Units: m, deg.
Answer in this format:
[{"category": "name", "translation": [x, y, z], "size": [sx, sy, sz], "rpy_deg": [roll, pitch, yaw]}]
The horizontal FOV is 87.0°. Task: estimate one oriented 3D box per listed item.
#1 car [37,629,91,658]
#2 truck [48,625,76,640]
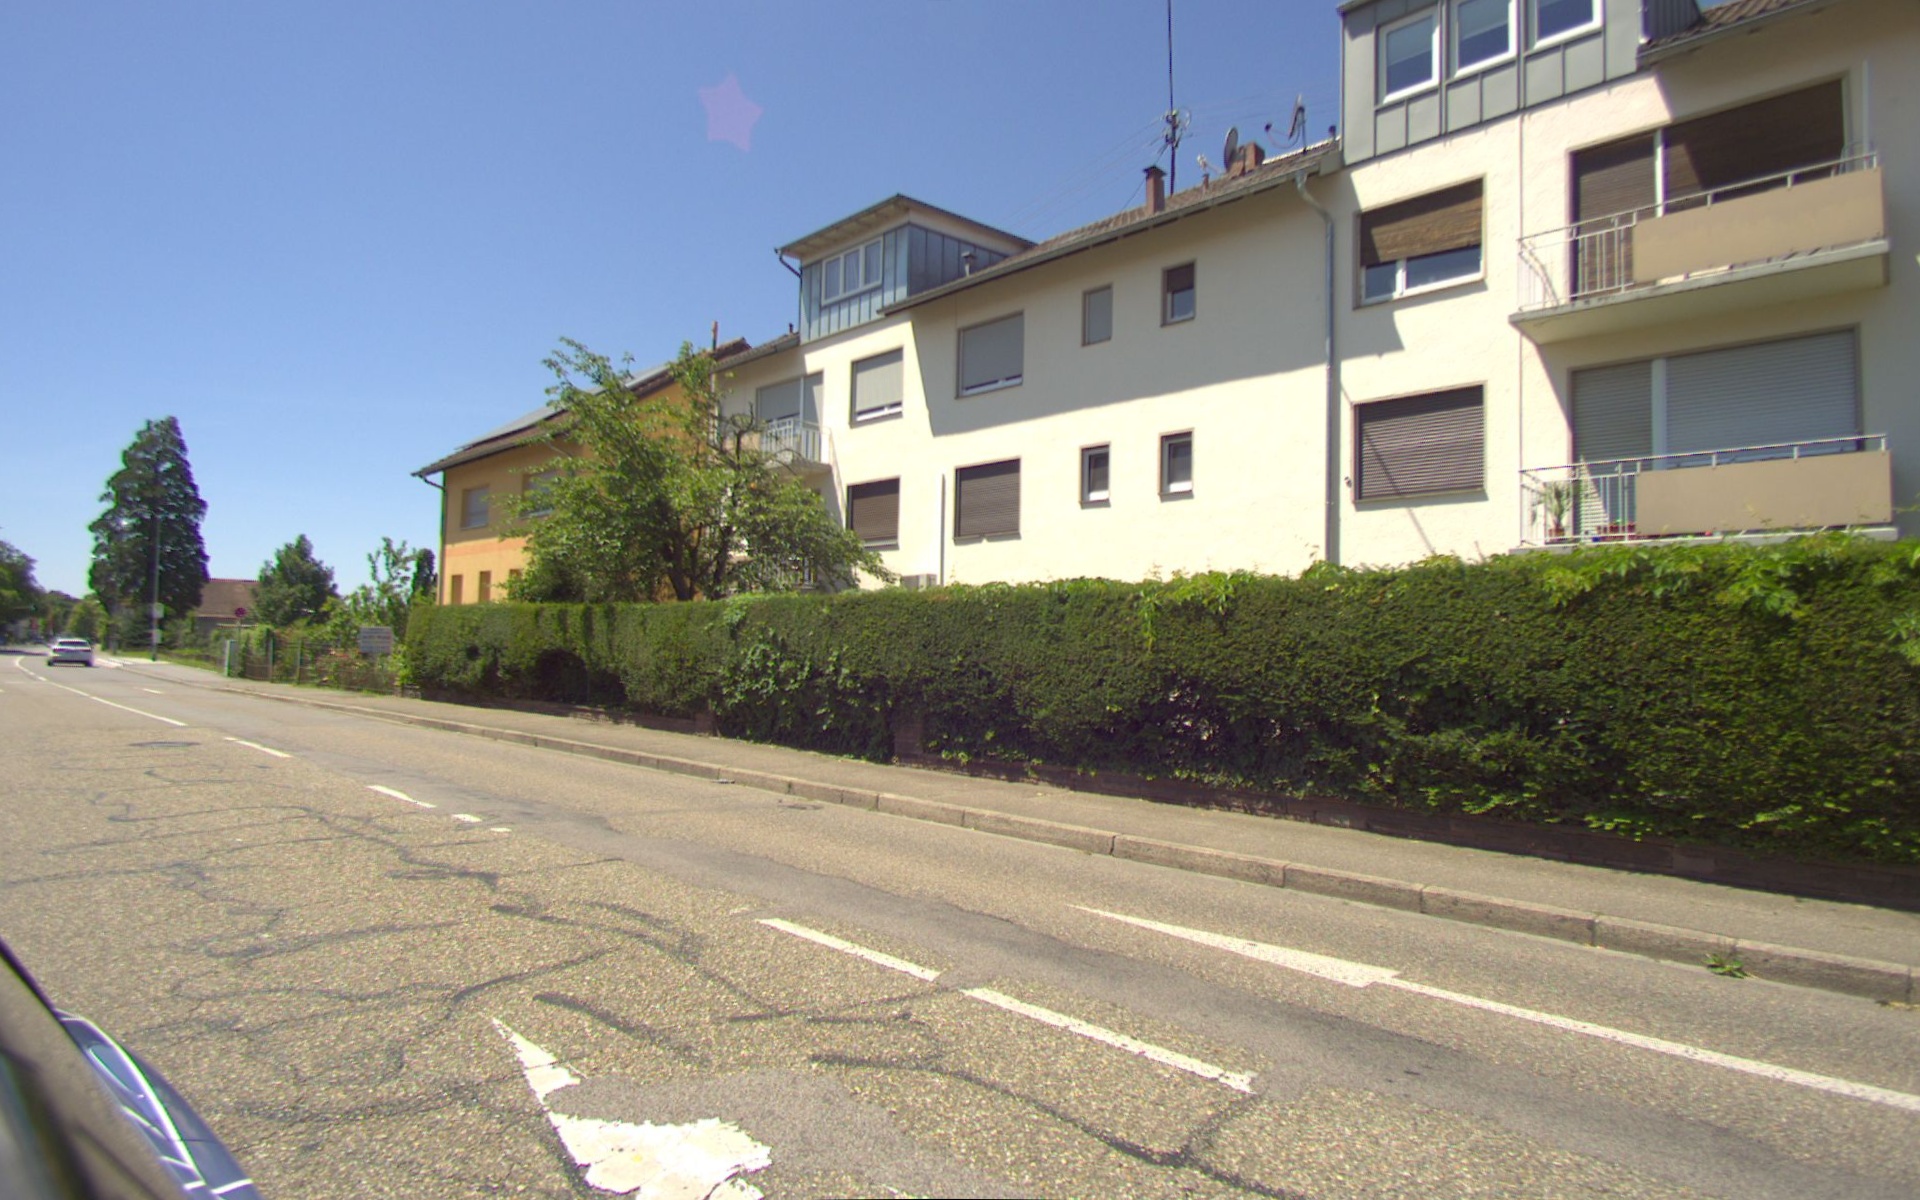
[{"category": "car", "translation": [-46.217, 2.253, 52.187], "size": [4.207, 1.383, 1.661], "rpy_deg": [-2, -6, 44]}, {"category": "truck", "translation": [-135.988, 4.936, 153.228], "size": [6.259, 2.258, 2.587], "rpy_deg": [-2, -4, 44]}]
